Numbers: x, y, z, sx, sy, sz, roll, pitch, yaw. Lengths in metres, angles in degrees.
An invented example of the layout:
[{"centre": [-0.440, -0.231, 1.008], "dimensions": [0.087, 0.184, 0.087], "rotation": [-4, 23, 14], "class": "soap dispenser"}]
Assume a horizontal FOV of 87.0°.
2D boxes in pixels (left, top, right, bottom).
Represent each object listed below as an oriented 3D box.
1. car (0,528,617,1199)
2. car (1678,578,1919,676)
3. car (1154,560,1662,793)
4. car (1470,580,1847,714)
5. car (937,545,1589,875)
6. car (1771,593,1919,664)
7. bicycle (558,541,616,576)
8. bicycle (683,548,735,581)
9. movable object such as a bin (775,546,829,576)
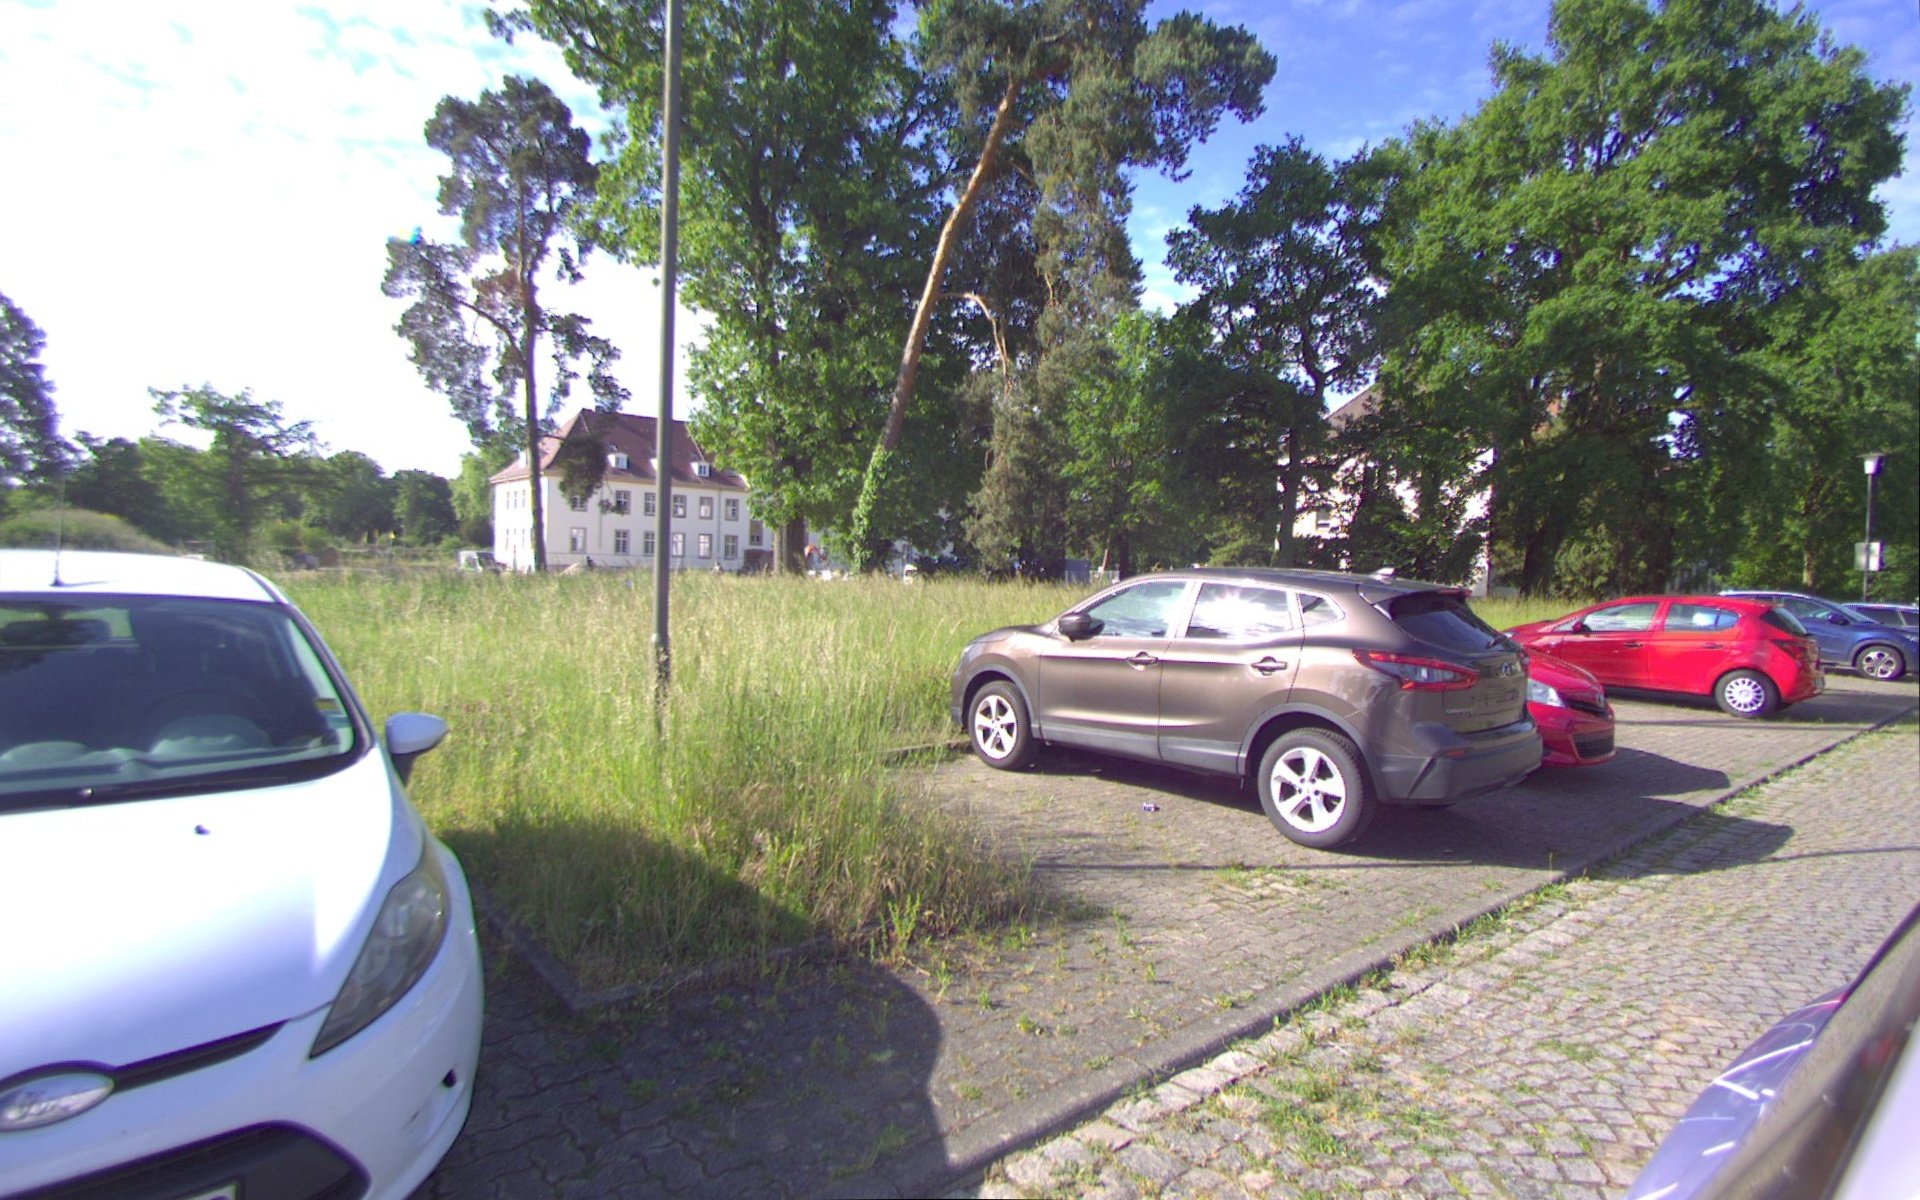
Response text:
[{"centre": [-2.558, 0.562, 2.990], "dimensions": [1.582, 1.484, 3.727], "rotation": [0, 3, -42], "class": "car"}, {"centre": [17.230, 0.484, 20.323], "dimensions": [1.622, 1.618, 4.273], "rotation": [0, 3, -40], "class": "car"}, {"centre": [3.819, 0.485, 9.180], "dimensions": [1.673, 1.557, 3.835], "rotation": [0, 3, -39], "class": "car"}, {"centre": [9.414, 0.520, 13.916], "dimensions": [1.513, 1.514, 3.995], "rotation": [0, 2, -40], "class": "car"}, {"centre": [1.833, 0.470, 7.192], "dimensions": [1.755, 1.631, 4.115], "rotation": [0, 2, -41], "class": "car"}, {"centre": [21.077, 0.630, 23.012], "dimensions": [1.715, 1.484, 3.809], "rotation": [0, 2, -39], "class": "car"}, {"centre": [-21.766, -2.439, 59.129], "dimensions": [3.077, 2.038, 0.952], "rotation": [-2, 3, -41], "class": "bicycle"}, {"centre": [-15.872, -2.269, 64.077], "dimensions": [3.077, 2.038, 0.952], "rotation": [-2, 3, -41], "class": "bicycle"}, {"centre": [-16.202, -4.011, 103.661], "dimensions": [4.974, 2.937, 2.182], "rotation": [0, 2, -33], "class": "movable object such as a bin"}]
